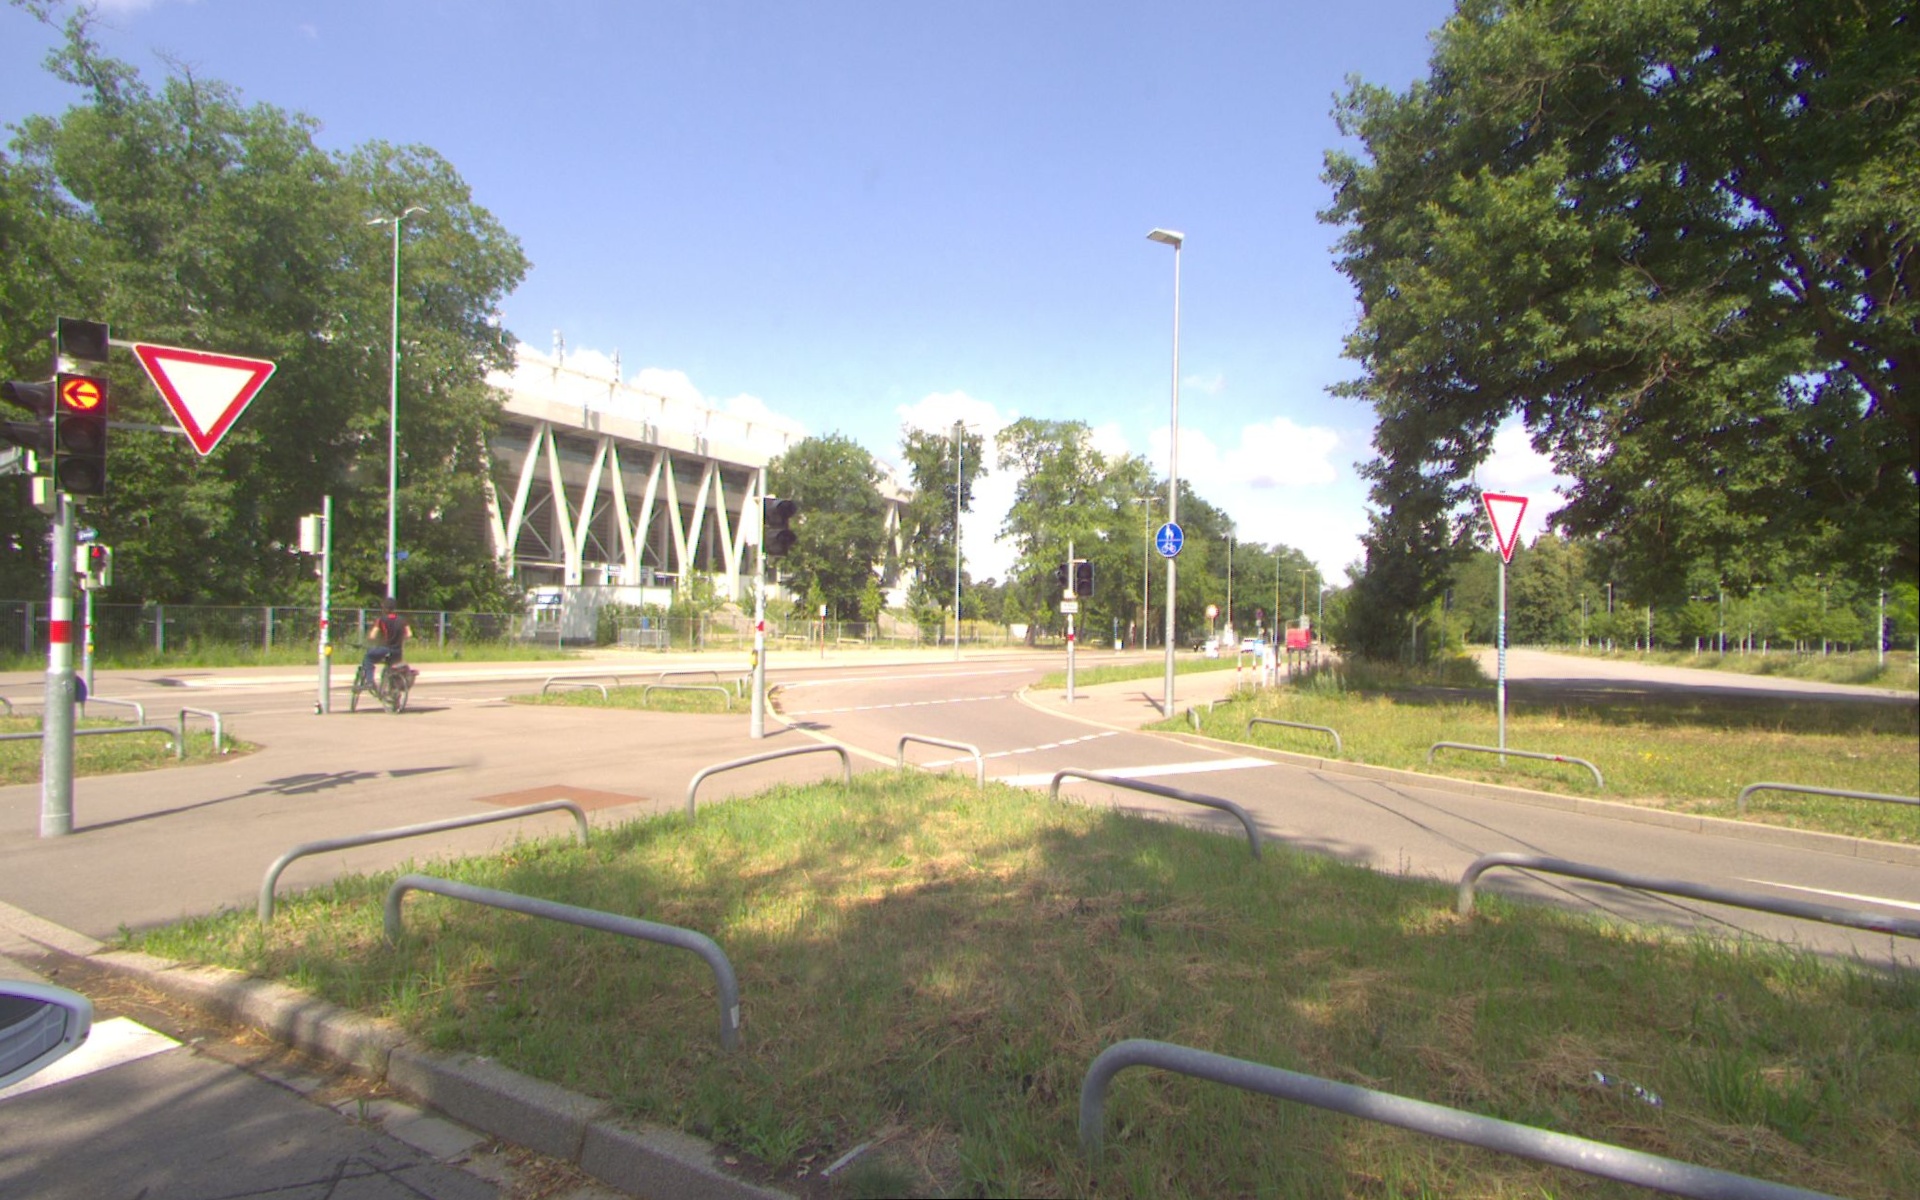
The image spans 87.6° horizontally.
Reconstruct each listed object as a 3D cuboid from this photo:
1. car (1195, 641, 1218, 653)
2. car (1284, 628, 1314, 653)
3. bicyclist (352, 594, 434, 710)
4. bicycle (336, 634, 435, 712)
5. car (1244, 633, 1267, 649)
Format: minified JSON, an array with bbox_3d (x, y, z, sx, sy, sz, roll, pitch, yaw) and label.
[{"bbox_3d":[29.232,5.593,118.670,1.580,1.395,3.956,-1,-2,32],"label":"car"},{"bbox_3d":[33.722,4.032,99.546,2.031,2.440,3.982,-1,-2,31],"label":"car"},{"bbox_3d":[-9.296,0.838,16.416,0.967,1.820,0.881,-1,-2,40],"label":"bicyclist"},{"bbox_3d":[-9.537,1.173,16.591,1.876,1.221,0.876,-2,-2,42],"label":"bicycle"},{"bbox_3d":[29.780,4.145,100.895,1.334,1.544,3.460,-1,-2,31],"label":"car"}]
